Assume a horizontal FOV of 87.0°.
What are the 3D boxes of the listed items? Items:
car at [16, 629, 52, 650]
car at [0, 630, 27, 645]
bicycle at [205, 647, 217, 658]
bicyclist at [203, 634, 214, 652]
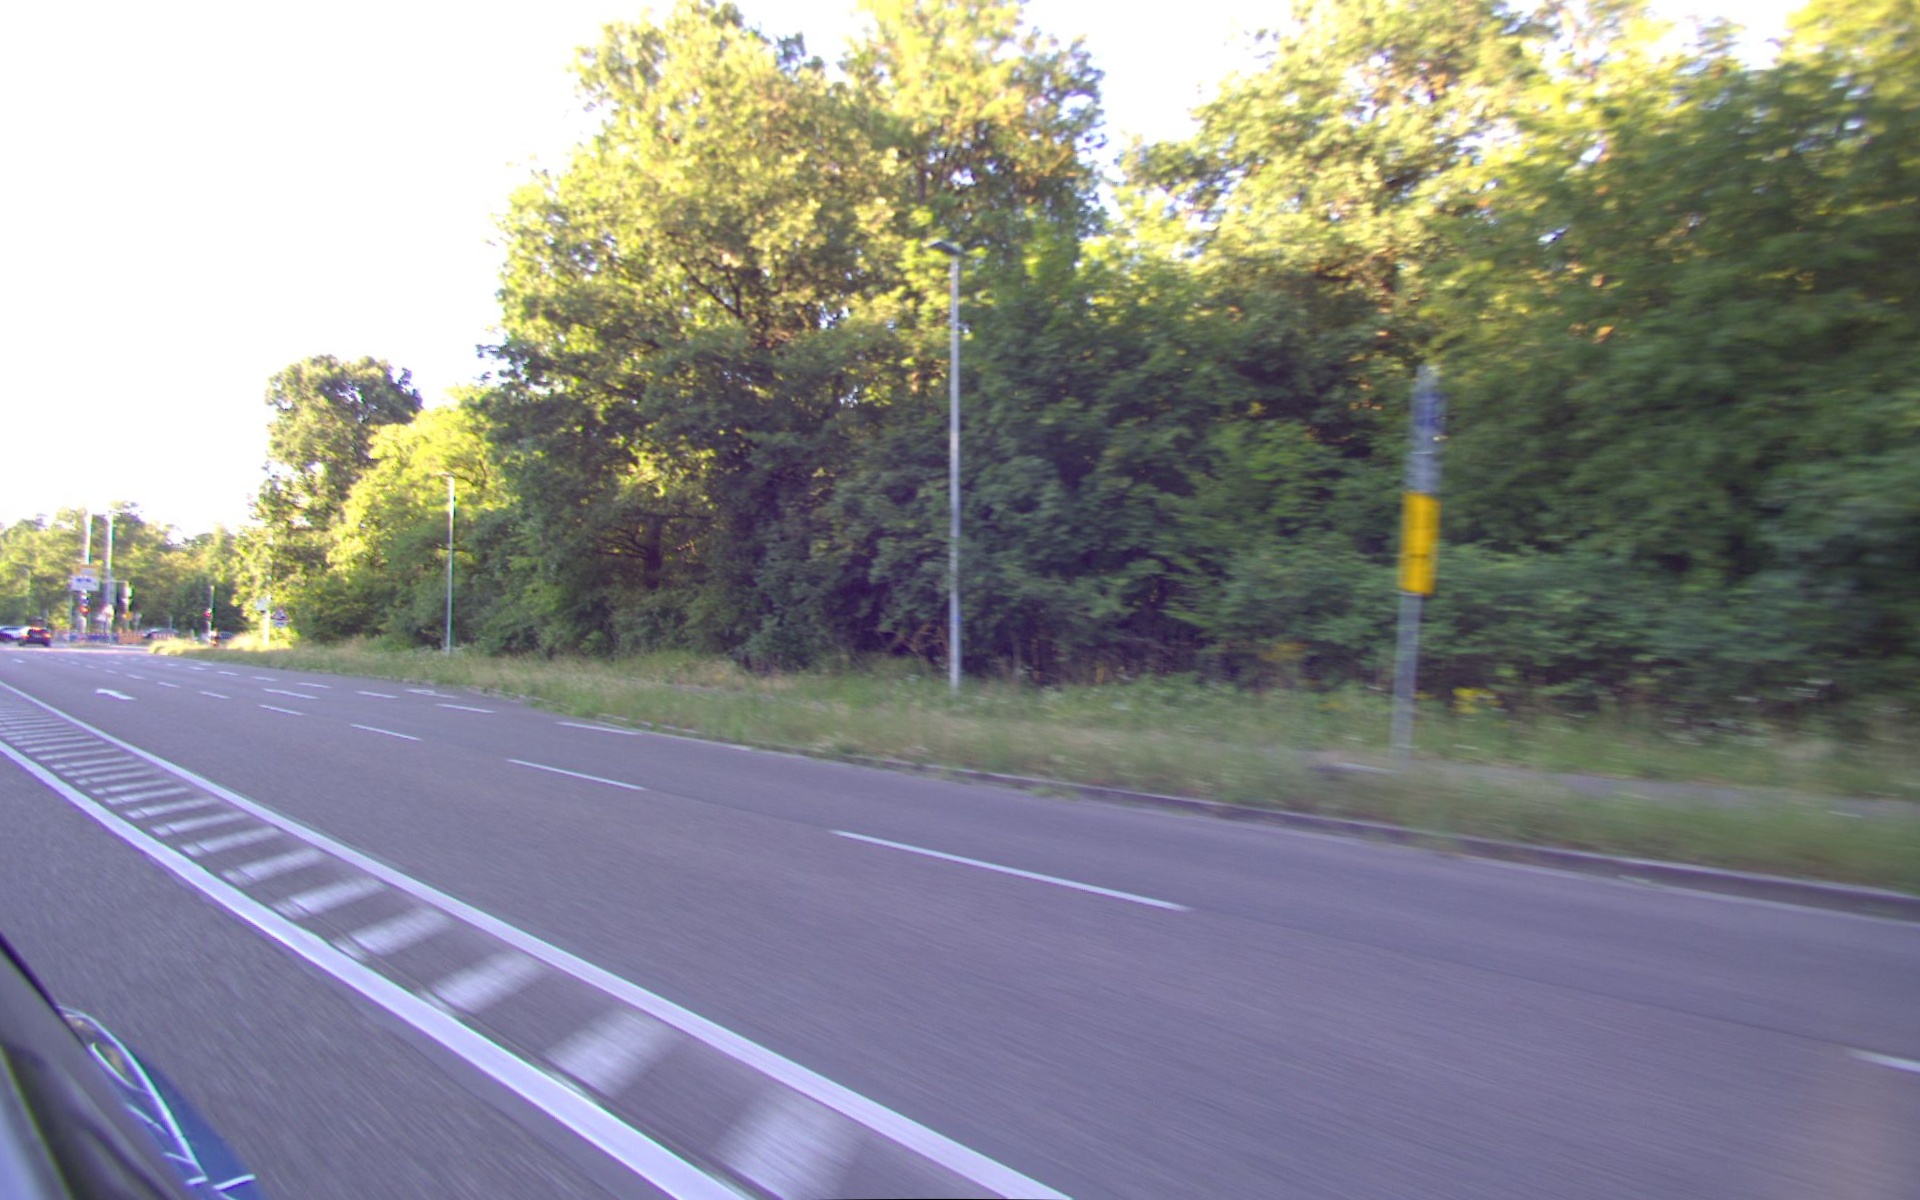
[{"bbox_3d":[-71.573,3.052,78.238,1.796,1.545,4.462,5,-4,-40],"label":"car"},{"bbox_3d":[-94.487,3.624,99.146,1.712,1.467,4.197,-1,-2,25],"label":"car"},{"bbox_3d":[-58.565,4.082,79.121,0.577,0.810,1.964,2,-3,-32],"label":"bicycle"},{"bbox_3d":[-58.646,3.362,79.009,0.577,1.440,0.824,2,-3,-32],"label":"bicyclist"}]
